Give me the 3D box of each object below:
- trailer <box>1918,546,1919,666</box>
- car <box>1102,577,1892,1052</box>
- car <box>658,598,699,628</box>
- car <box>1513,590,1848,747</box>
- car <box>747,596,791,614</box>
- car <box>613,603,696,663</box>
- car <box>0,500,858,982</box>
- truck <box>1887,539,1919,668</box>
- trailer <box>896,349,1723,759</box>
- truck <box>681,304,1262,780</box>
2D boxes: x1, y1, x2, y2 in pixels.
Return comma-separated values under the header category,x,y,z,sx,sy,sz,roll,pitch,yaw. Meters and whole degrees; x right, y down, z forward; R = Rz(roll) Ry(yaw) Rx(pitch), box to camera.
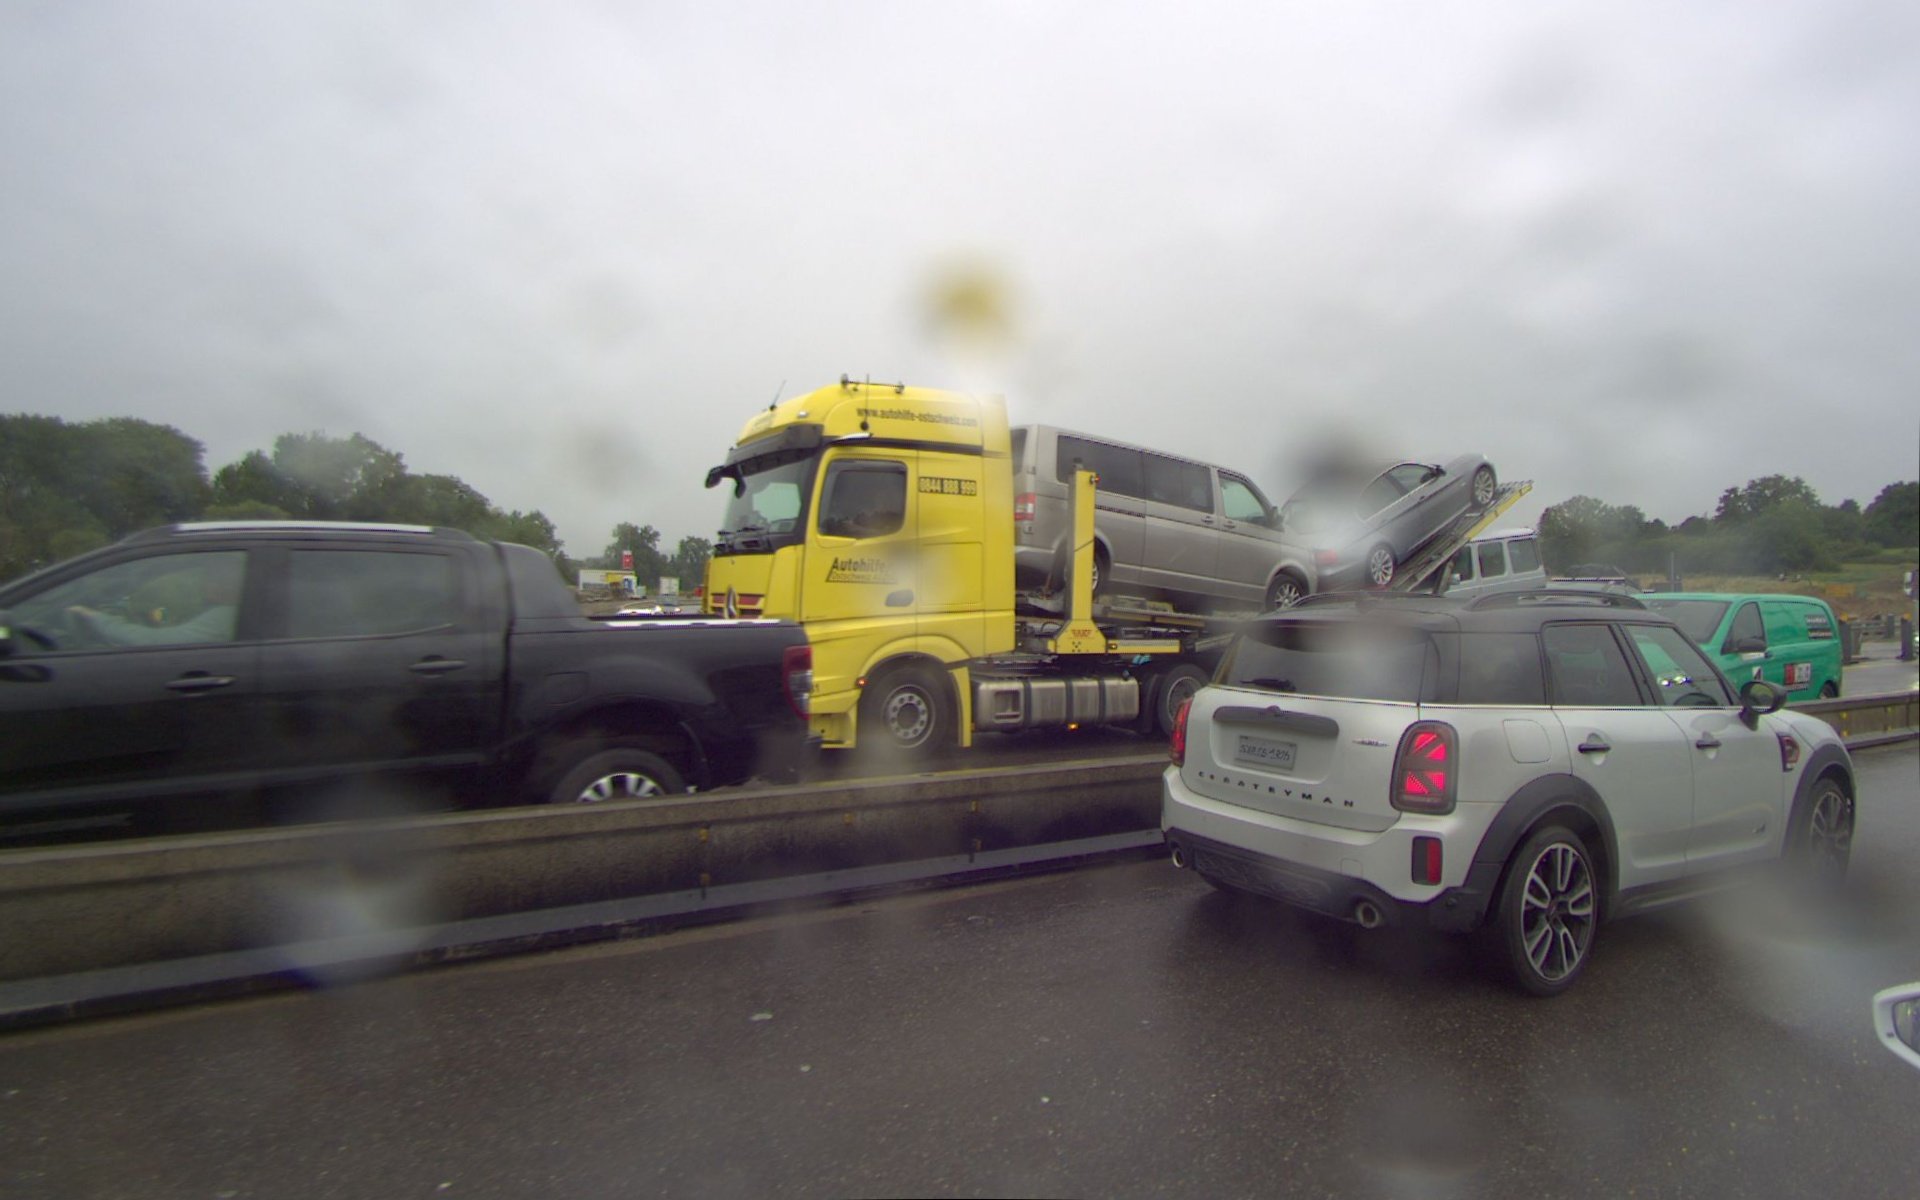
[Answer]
category,x,y,z,sx,sy,sz,roll,pitch,yaw
trailer,35.467,0.254,33.224,11.869,3.726,2.606,1,0,-32
car,2.978,0.741,5.322,4.259,1.622,1.806,0,0,-32
car,-16.831,0.759,60.317,1.817,1.723,5.037,1,0,-10
car,9.701,0.818,13.451,4.634,1.782,1.983,1,0,-31
car,-18.619,0.481,98.151,1.814,1.723,5.044,1,0,22
car,-11.438,1.187,37.968,2.032,2.090,4.839,1,0,-5
car,-3.223,0.573,5.127,5.130,1.829,1.778,1,-2,-31
truck,30.897,0.137,30.344,6.521,3.726,2.606,1,0,-32
trailer,6.415,-0.345,15.161,15.182,4.096,2.735,1,0,-31
truck,0.248,-0.454,11.434,6.077,4.116,2.735,1,0,-31
